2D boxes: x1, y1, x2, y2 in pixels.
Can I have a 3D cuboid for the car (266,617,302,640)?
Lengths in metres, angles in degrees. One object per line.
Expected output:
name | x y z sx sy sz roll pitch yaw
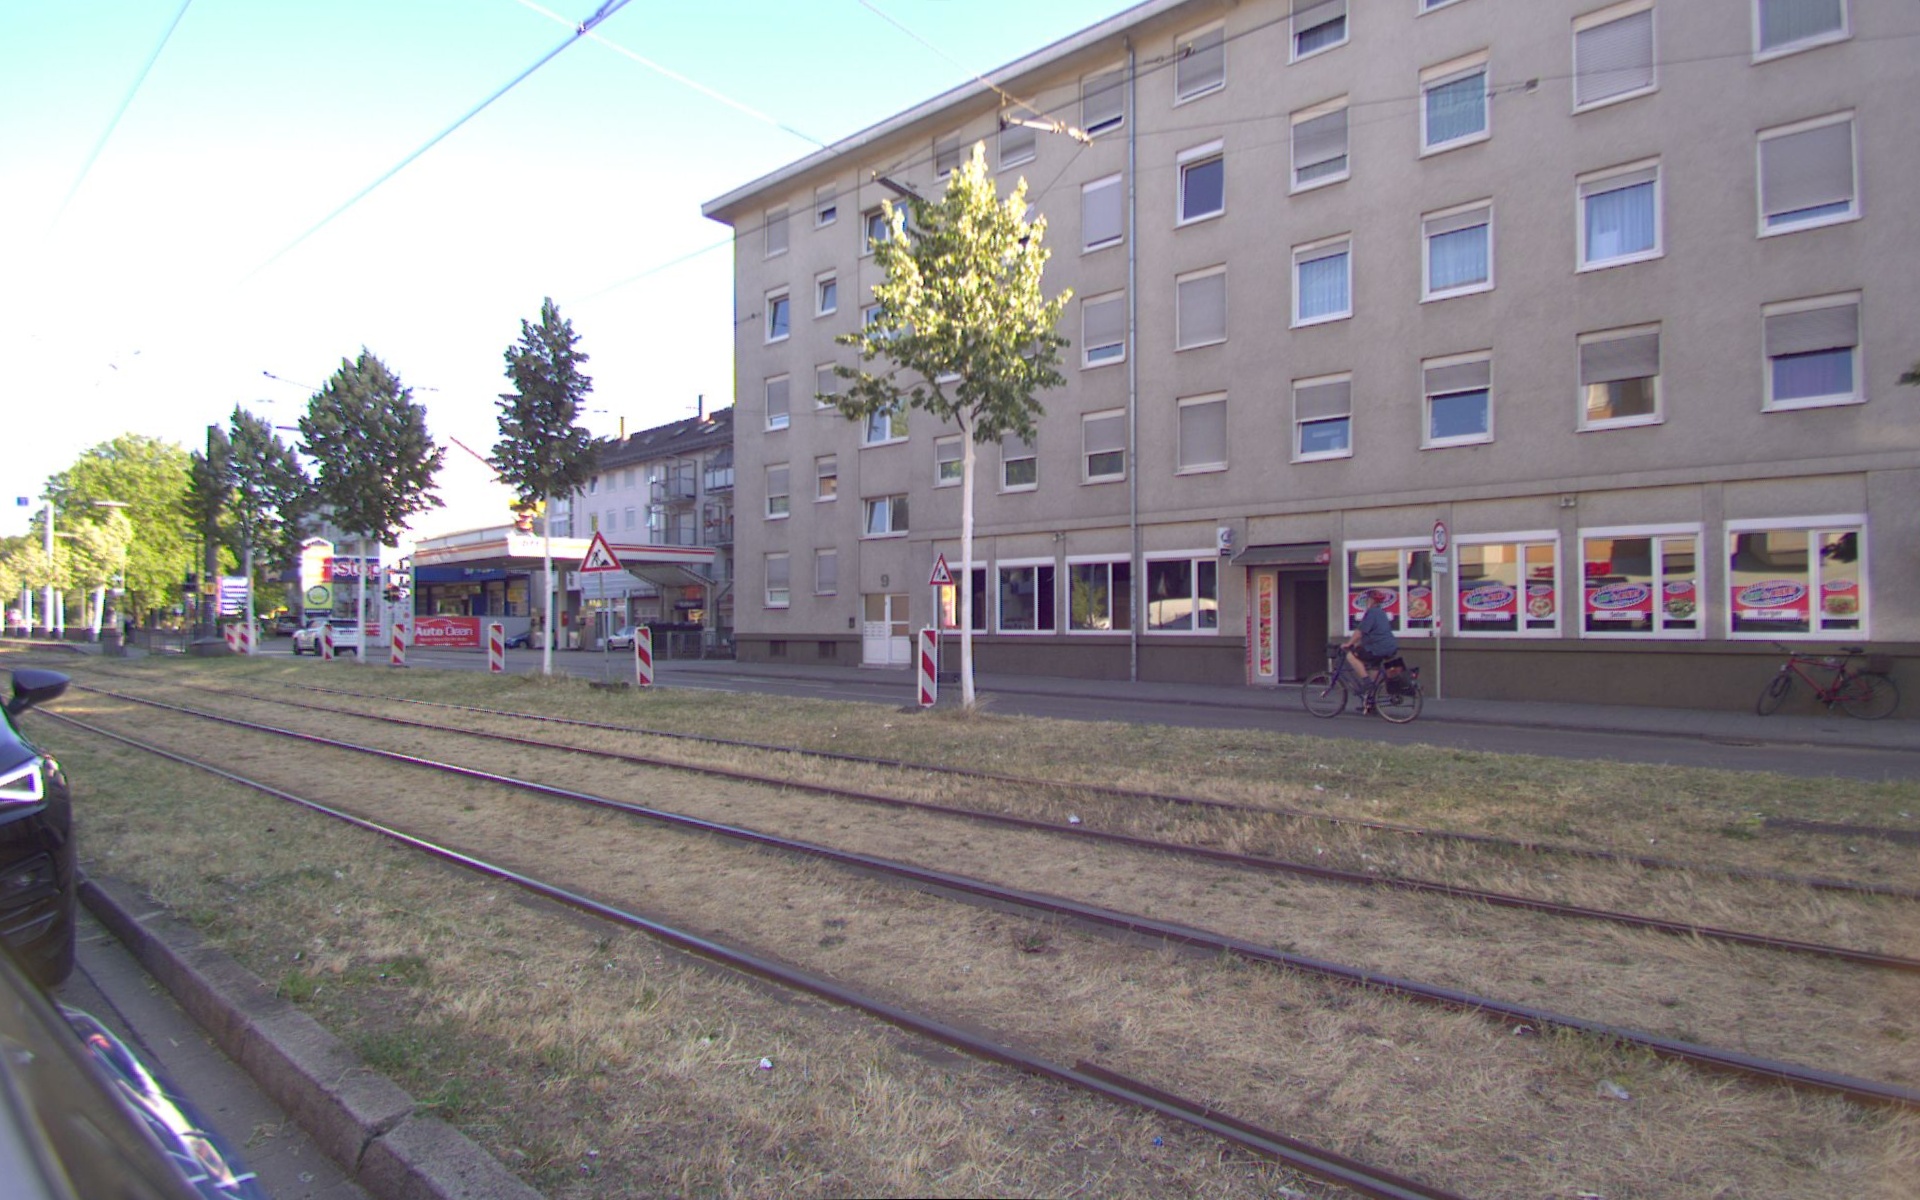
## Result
car | -49.990 2.084 74.798 1.756 1.567 4.006 -1 0 -40

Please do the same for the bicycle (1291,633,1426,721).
bicycle | 6.087 1.159 15.544 1.871 1.267 0.450 -3 -2 44

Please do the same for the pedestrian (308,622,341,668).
pedestrian | -18.350 1.291 29.235 0.581 1.280 0.655 -2 -1 42

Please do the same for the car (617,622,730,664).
car | -10.746 1.603 38.104 1.906 1.481 3.680 -4 -4 40

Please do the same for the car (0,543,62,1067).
car | -5.072 0.695 4.038 3.998 1.690 1.752 -1 -1 41

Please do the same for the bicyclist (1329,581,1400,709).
bicyclist | 6.180 0.679 15.480 0.809 1.897 0.643 -2 -3 45

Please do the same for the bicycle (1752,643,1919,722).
bicycle | 12.745 1.168 14.761 1.844 1.031 0.601 -1 0 41

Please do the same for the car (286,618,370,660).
car | -27.480 1.644 43.958 4.393 1.748 1.972 -1 -1 42
